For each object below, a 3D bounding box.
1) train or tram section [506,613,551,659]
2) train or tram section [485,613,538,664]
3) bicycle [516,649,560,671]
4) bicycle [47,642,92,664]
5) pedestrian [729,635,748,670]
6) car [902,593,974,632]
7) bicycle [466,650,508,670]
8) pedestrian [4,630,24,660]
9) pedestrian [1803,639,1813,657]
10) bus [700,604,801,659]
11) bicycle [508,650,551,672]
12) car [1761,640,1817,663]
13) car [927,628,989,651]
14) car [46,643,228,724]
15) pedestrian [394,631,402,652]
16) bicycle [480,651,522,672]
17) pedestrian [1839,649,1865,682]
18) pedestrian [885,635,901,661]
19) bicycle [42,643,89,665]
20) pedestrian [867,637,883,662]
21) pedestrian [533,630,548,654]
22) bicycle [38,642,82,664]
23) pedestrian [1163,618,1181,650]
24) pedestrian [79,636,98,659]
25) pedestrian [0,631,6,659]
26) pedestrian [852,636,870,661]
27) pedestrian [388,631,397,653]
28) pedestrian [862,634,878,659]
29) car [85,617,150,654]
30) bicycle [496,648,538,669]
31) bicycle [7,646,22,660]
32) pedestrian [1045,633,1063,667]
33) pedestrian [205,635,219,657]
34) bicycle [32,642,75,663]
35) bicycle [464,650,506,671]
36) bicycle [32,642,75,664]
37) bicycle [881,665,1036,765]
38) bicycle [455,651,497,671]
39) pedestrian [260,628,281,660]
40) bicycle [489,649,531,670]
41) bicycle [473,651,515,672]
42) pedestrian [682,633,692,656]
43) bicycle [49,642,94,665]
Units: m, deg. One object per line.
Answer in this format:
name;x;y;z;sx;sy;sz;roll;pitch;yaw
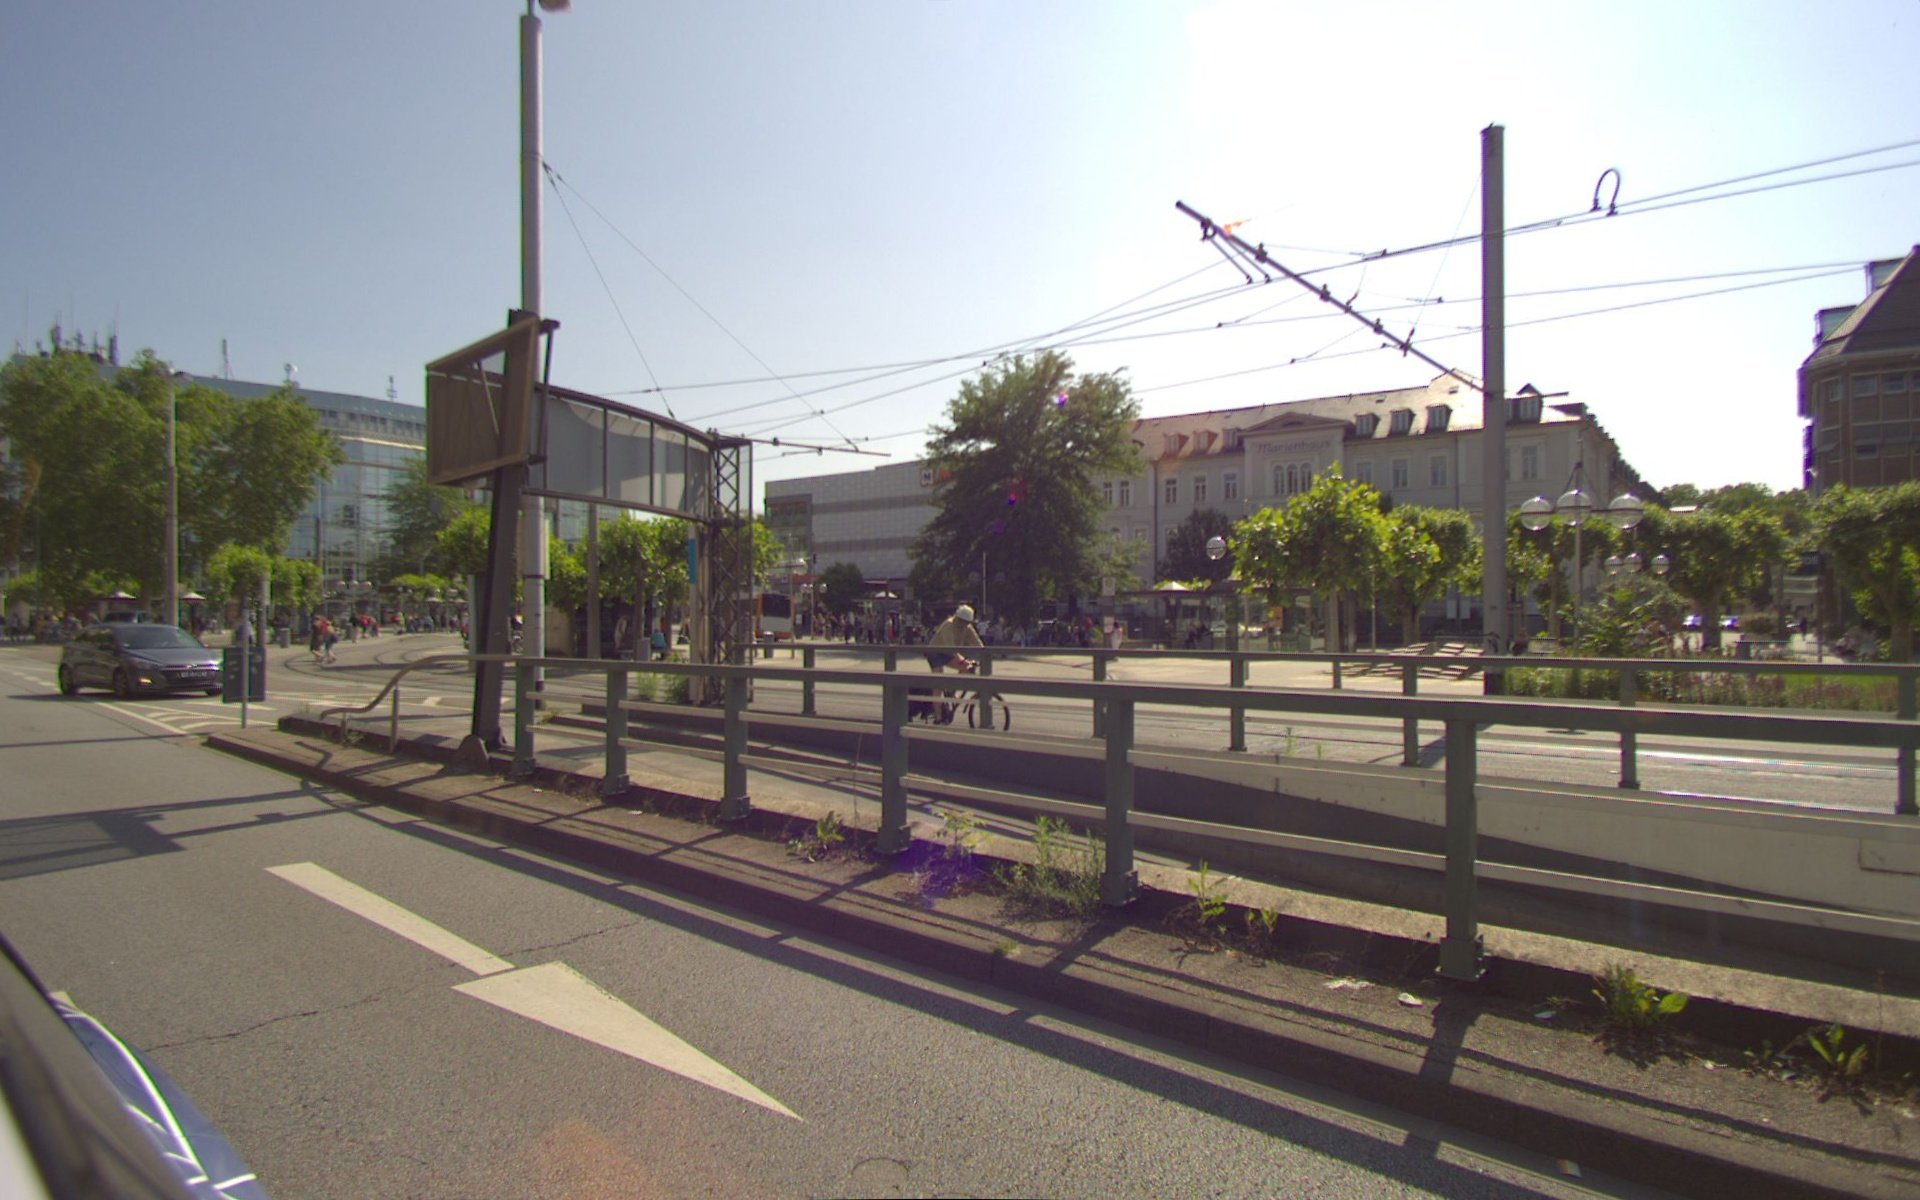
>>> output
train or tram section;-39.120;3.152;92.007;2.578;3.856;9.546;-1;-1;-16
train or tram section;-36.553;3.027;82.783;2.578;3.856;9.546;-1;-1;-16
bicycle;-18.914;2.665;45.394;0.579;0.876;1.853;-1;-1;28
bicycle;-47.892;2.826;54.422;0.482;1.156;1.735;-2;-2;39
pedestrian;-10.238;2.444;46.864;0.549;1.620;0.600;-3;-6;43
car;-1.722;0.960;77.555;5.387;2.909;1.936;-2;-1;35
bicycle;-22.540;2.848;48.249;0.544;0.863;1.853;-1;-1;28
pedestrian;-54.460;2.604;58.262;0.640;1.704;0.637;-1;-1;28
pedestrian;60.118;3.386;71.748;0.475;1.273;0.511;-2;-5;36
bus;-14.759;2.095;70.127;3.014;3.445;12.497;-1;-1;-30
bicycle;-19.426;2.756;45.685;0.579;0.876;1.853;-1;-1;28
car;77.375;4.778;94.502;3.998;1.929;1.973;-2;-1;41
car;-0.143;2.702;69.250;3.991;1.519;1.740;-2;-1;35
car;-16.530;1.600;20.284;3.988;1.415;1.681;-1;-2;33
pedestrian;-42.336;3.135;76.220;0.379;1.561;0.412;3;-5;-24
bicycle;-21.626;2.905;47.744;0.544;0.863;1.853;-1;-1;28
pedestrian;34.993;2.561;39.693;0.525;1.273;0.574;-1;-5;20
pedestrian;-3.907;2.808;59.019;0.679;1.477;0.617;-2;-5;36
bicycle;-48.555;2.902;54.935;0.482;1.156;1.842;-2;-2;39
pedestrian;-4.991;2.905;59.276;0.679;1.477;0.617;-2;-5;36
pedestrian;-28.618;2.851;69.063;0.675;1.610;0.621;-1;-5;19
bicycle;-49.433;2.923;55.605;0.482;1.156;1.735;-2;-2;39
pedestrian;9.506;1.544;45.273;0.598;1.402;0.562;-2;-5;40
pedestrian;-55.107;2.977;63.993;0.780;1.418;0.744;-2;-1;31
pedestrian;-60.949;2.843;64.046;0.666;1.760;0.742;-2;-1;39
pedestrian;-6.128;3.017;62.823;0.741;1.477;0.780;-2;-5;36
pedestrian;-41.429;3.060;73.875;0.467;1.561;0.493;3;-5;-24
pedestrian;-5.512;2.865;62.051;0.679;1.477;0.617;-2;-5;36
car;-50.182;2.079;60.398;1.965;2.029;5.083;-1;-1;-28
bicycle;-20.527;2.710;46.913;0.579;0.876;1.853;-1;-1;28
bicycle;-81.760;4.606;87.521;1.753;1.156;0.586;-1;-2;34
pedestrian;4.501;2.392;48.656;0.616;1.611;0.735;-1;-4;29
pedestrian;-58.430;3.575;79.087;0.629;1.706;0.754;5;-3;-26
bicycle;-51.389;2.979;57.366;0.482;1.156;1.735;-2;-2;39
bicycle;-22.834;2.895;48.662;0.580;0.878;1.853;-1;-1;28
bicycle;-50.905;2.965;56.862;0.482;1.156;1.735;-2;-2;39
bicycle;-0.038;1.418;12.828;1.873;1.129;0.809;-2;-5;41
bicycle;-23.404;2.945;48.982;0.544;0.863;1.853;-1;-1;28
pedestrian;-40.151;2.564;58.908;0.671;1.808;0.625;1;-4;-1
bicycle;-21.090;2.793;47.418;0.544;0.863;1.853;-1;-1;28
bicycle;-22.113;2.900;48.035;0.544;0.863;1.853;-1;-1;28
pedestrian;-17.331;2.826;64.247;0.407;1.477;0.451;0;-4;6
bicycle;-47.500;2.847;54.126;0.482;1.156;1.735;-2;-2;39
